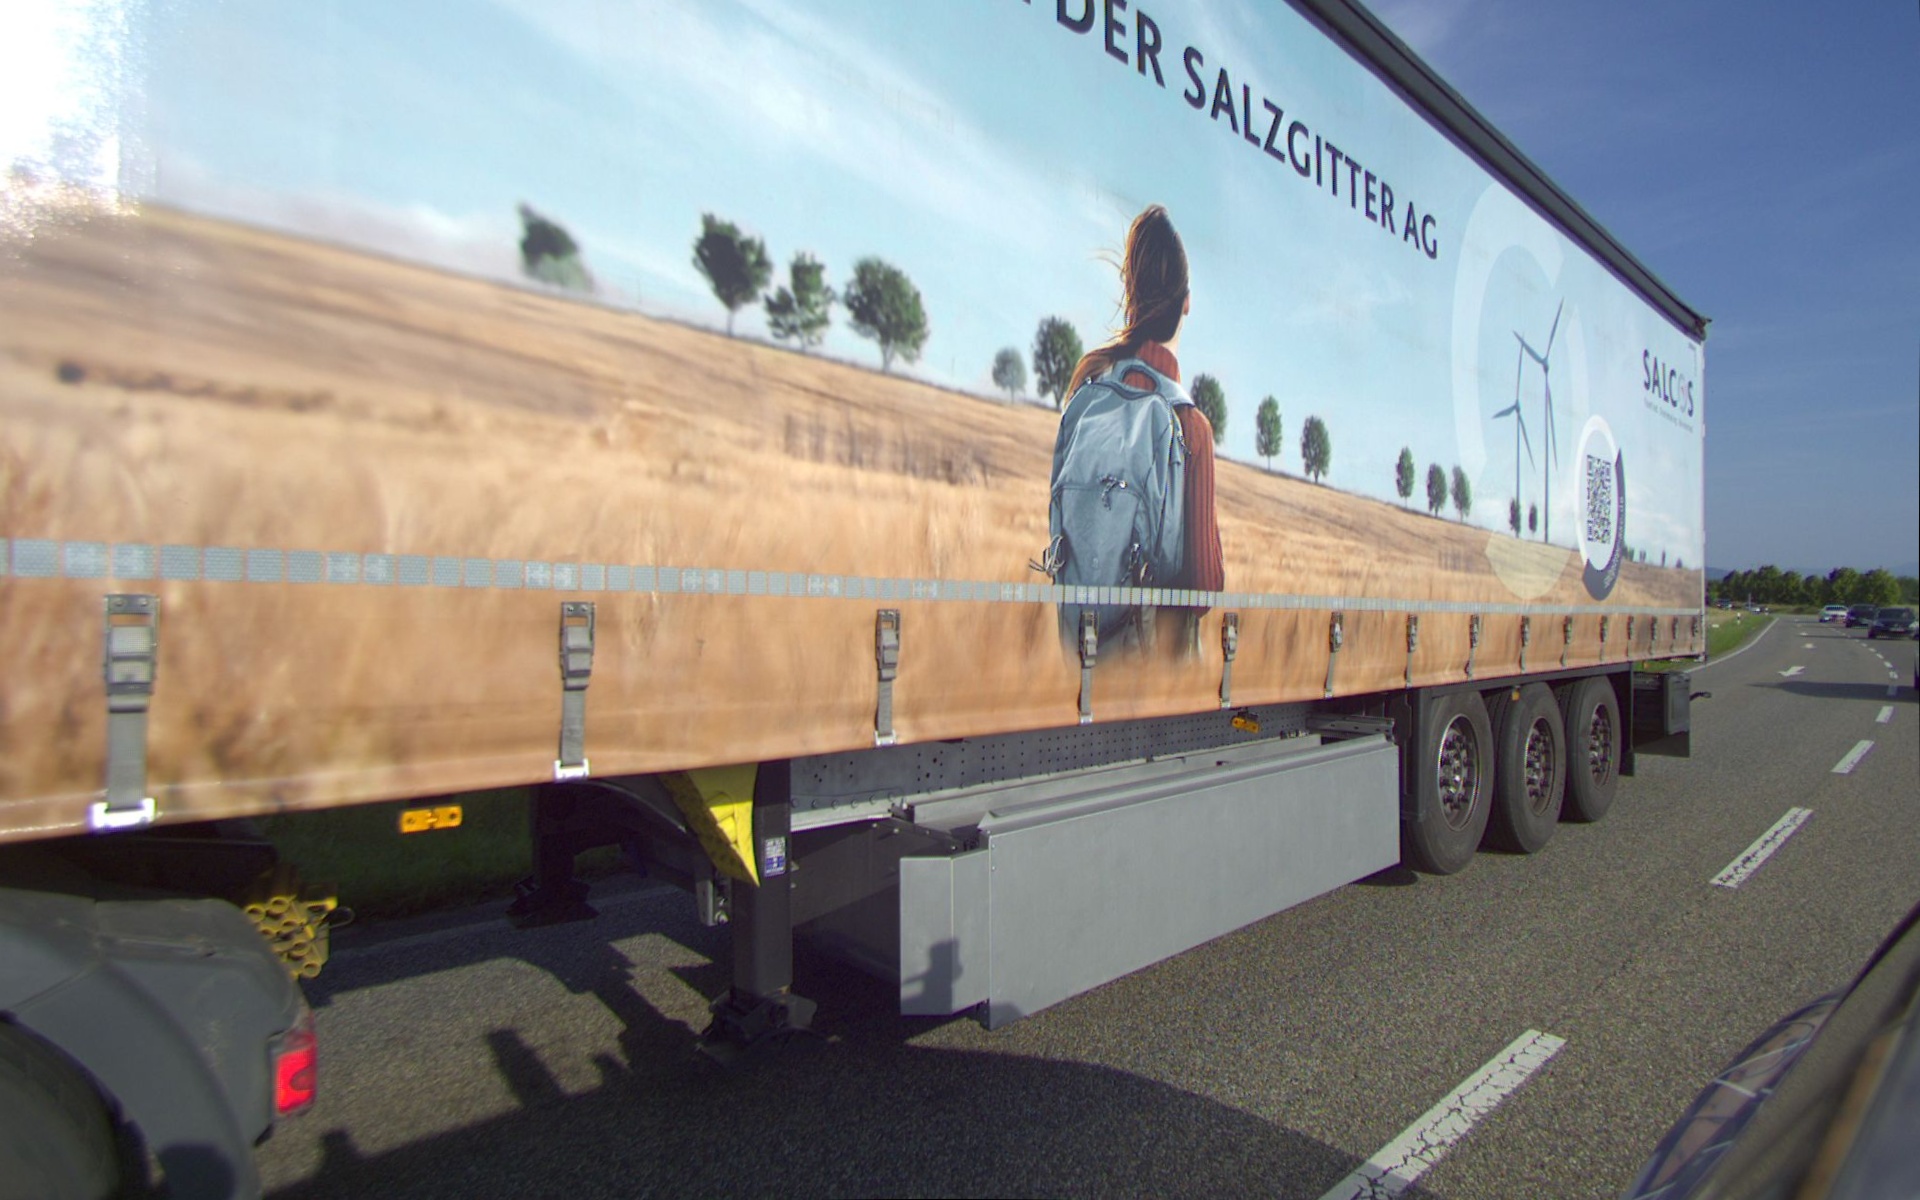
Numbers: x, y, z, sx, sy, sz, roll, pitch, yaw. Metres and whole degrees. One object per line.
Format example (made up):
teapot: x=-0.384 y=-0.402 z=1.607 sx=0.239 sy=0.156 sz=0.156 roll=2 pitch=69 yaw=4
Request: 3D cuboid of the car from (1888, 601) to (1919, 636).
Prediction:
car: x=43.885 y=0.824 z=46.635 sx=1.580 sy=1.523 sz=3.605 roll=2 pitch=1 yaw=42

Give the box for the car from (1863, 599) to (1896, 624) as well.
car: x=61.201 y=0.759 z=67.351 sx=1.553 sy=1.579 sz=3.002 roll=2 pitch=1 yaw=42

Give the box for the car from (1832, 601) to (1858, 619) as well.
car: x=73.298 y=0.816 z=83.820 sx=1.552 sy=1.417 sz=3.974 roll=2 pitch=1 yaw=42

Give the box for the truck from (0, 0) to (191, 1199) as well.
truck: x=-4.180 y=-0.921 z=0.651 sx=5.634 sy=4.716 sz=3.304 roll=0 pitch=0 yaw=-43

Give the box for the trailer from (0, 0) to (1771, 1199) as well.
trailer: x=1.435 y=-0.956 z=5.895 sx=12.924 sy=4.740 sz=3.285 roll=0 pitch=0 yaw=-43
